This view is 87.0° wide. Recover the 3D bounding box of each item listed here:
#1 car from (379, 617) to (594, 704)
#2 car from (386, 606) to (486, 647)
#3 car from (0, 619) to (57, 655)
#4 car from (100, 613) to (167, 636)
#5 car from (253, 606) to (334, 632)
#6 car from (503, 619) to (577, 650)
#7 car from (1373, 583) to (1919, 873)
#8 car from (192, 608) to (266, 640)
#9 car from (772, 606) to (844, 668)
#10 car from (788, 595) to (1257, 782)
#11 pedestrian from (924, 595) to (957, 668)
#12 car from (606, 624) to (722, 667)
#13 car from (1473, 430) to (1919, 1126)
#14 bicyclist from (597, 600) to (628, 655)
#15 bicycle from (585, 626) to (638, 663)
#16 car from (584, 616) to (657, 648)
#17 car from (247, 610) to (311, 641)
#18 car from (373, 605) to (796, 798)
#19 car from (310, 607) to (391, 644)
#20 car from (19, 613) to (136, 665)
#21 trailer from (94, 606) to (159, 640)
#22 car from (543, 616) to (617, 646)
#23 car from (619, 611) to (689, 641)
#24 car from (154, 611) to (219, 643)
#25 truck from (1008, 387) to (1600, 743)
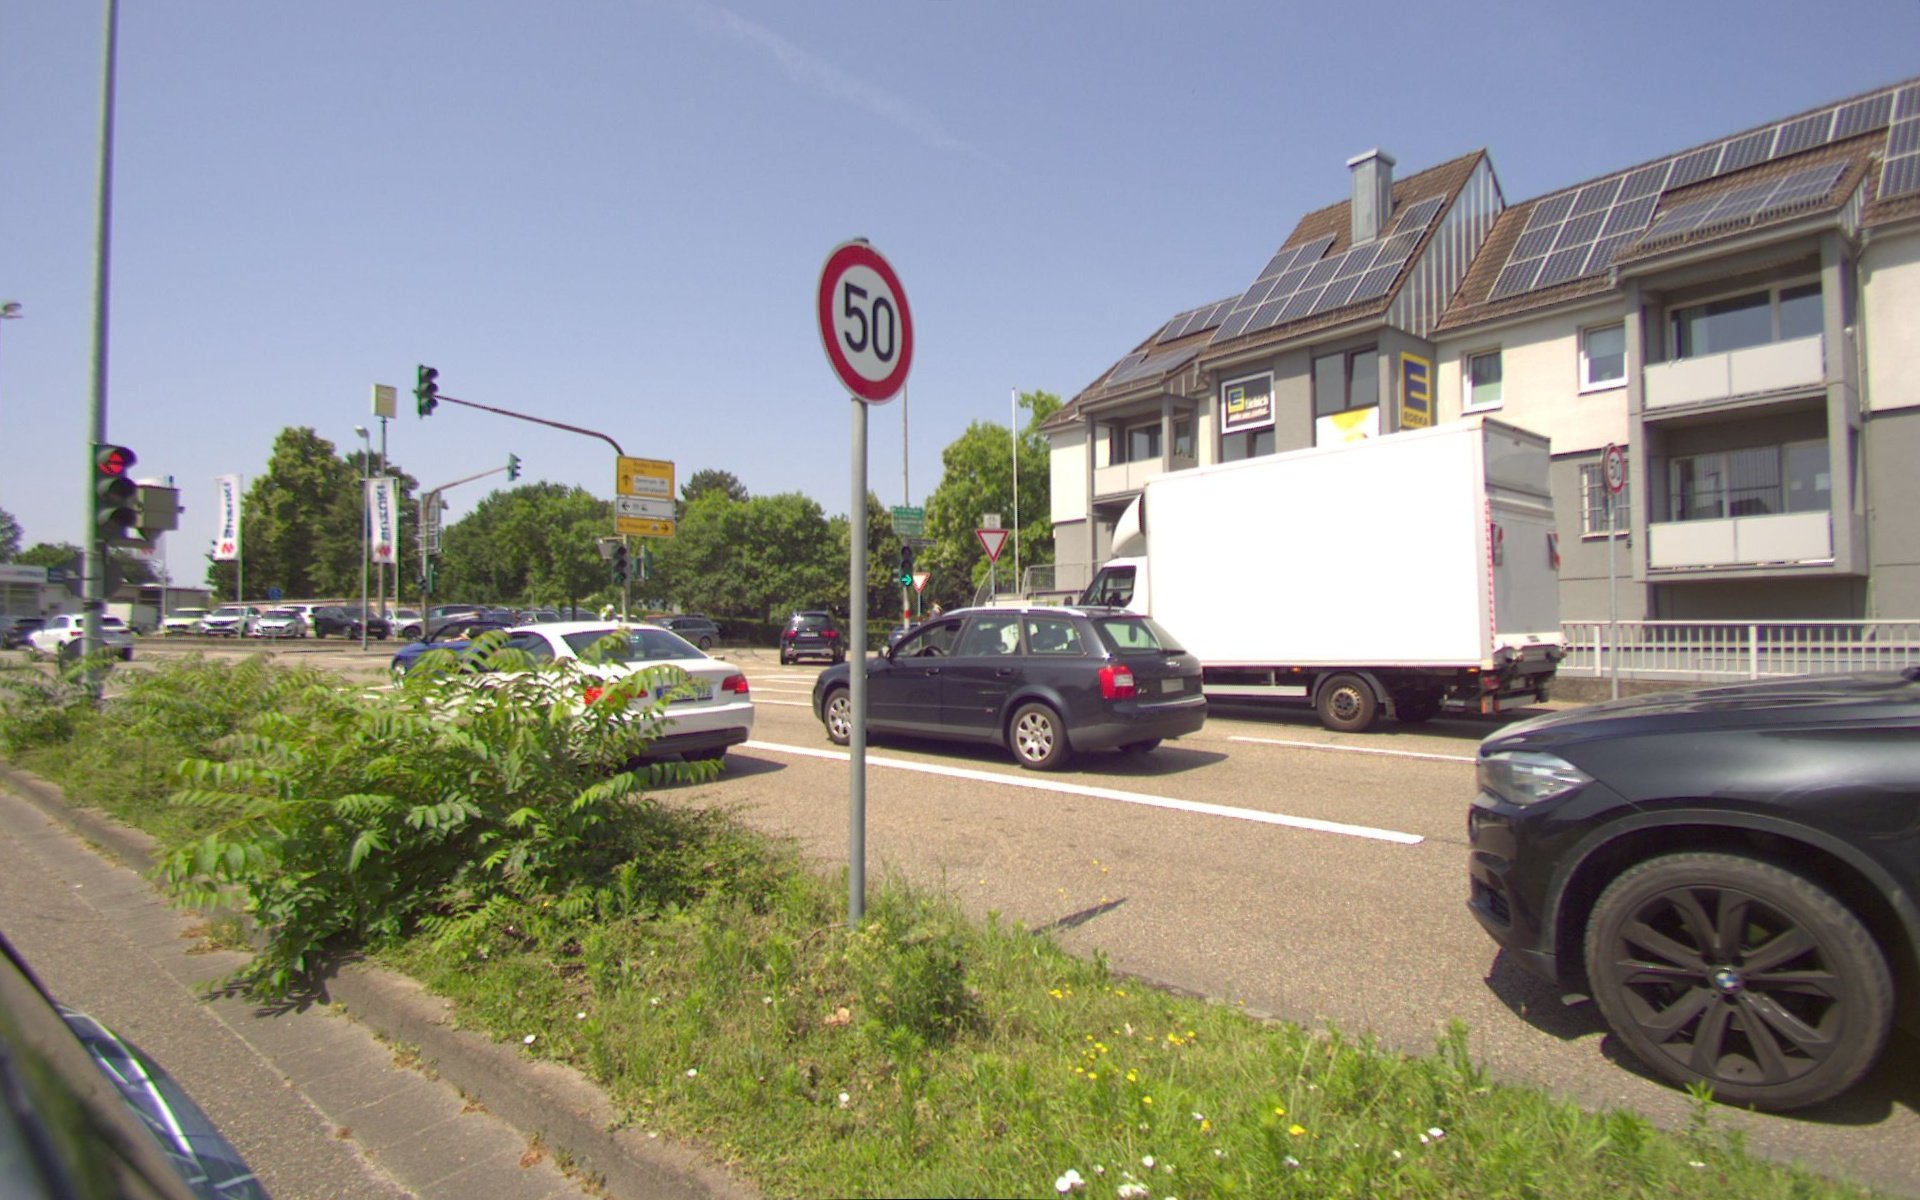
[{"bbox_3d":[-8.562,1.011,18.135,4.343,1.376,1.844,-1,-1,40],"label":"car"},{"bbox_3d":[-26.266,1.323,50.840,4.235,1.916,1.835,2,-1,-21],"label":"car"},{"bbox_3d":[-42.194,1.609,44.629,4.416,1.497,1.986,0,-2,26],"label":"car"},{"bbox_3d":[-55.165,1.609,67.542,3.596,1.517,1.687,0,-1,14],"label":"car"},{"bbox_3d":[-43.995,1.242,66.813,4.708,1.662,1.688,0,-1,12],"label":"car"},{"bbox_3d":[-22.742,1.834,54.773,3.988,1.548,1.776,0,0,33],"label":"car"},{"bbox_3d":[4.850,0.618,5.822,4.199,1.371,1.876,-1,-1,44],"label":"car"},{"bbox_3d":[-36.856,1.174,51.131,1.885,1.552,3.975,0,0,-18],"label":"car"},{"bbox_3d":[-4.756,1.164,31.606,1.968,1.669,4.602,4,-3,-9],"label":"car"},{"bbox_3d":[0.413,0.729,10.088,4.576,1.450,1.782,-1,-1,43],"label":"car"},{"bbox_3d":[-0.554,0.894,28.846,0.741,2.029,0.498,-3,-2,34],"label":"pedestrian"},{"bbox_3d":[-12.704,1.913,43.739,1.759,1.622,4.703,0,0,37],"label":"car"},{"bbox_3d":[4.020,0.441,2.290,1.887,1.764,4.763,0,0,-45],"label":"car"},{"bbox_3d":[-10.509,0.825,30.603,0.817,1.655,0.418,-2,-1,28],"label":"bicyclist"},{"bbox_3d":[-10.544,1.332,30.617,1.781,1.062,0.418,0,0,29],"label":"bicycle"},{"bbox_3d":[-19.491,1.793,58.069,3.988,1.720,1.886,0,0,33],"label":"car"},{"bbox_3d":[-34.064,1.240,50.710,1.686,1.443,3.975,1,-1,-19],"label":"car"},{"bbox_3d":[-3.841,0.803,9.855,4.742,1.442,1.843,-1,-1,41],"label":"car"},{"bbox_3d":[-30.545,1.259,50.689,4.001,1.737,1.826,1,-1,32],"label":"car"},{"bbox_3d":[-29.616,1.264,33.934,4.543,1.582,1.802,-1,0,33],"label":"car"},{"bbox_3d":[-43.266,1.171,52.587,1.666,1.717,2.440,0,-1,-11],"label":"trailer"},{"bbox_3d":[-21.234,1.736,56.516,3.987,1.582,1.821,0,-2,32],"label":"car"},{"bbox_3d":[-18.128,1.541,59.968,3.988,1.696,1.848,0,0,33],"label":"car"},{"bbox_3d":[-39.410,1.321,51.629,1.727,1.521,3.833,0,0,-23],"label":"car"},{"bbox_3d":[3.920,-0.269,13.146,2.237,3.443,7.047,0,-2,-42],"label":"truck"}]
